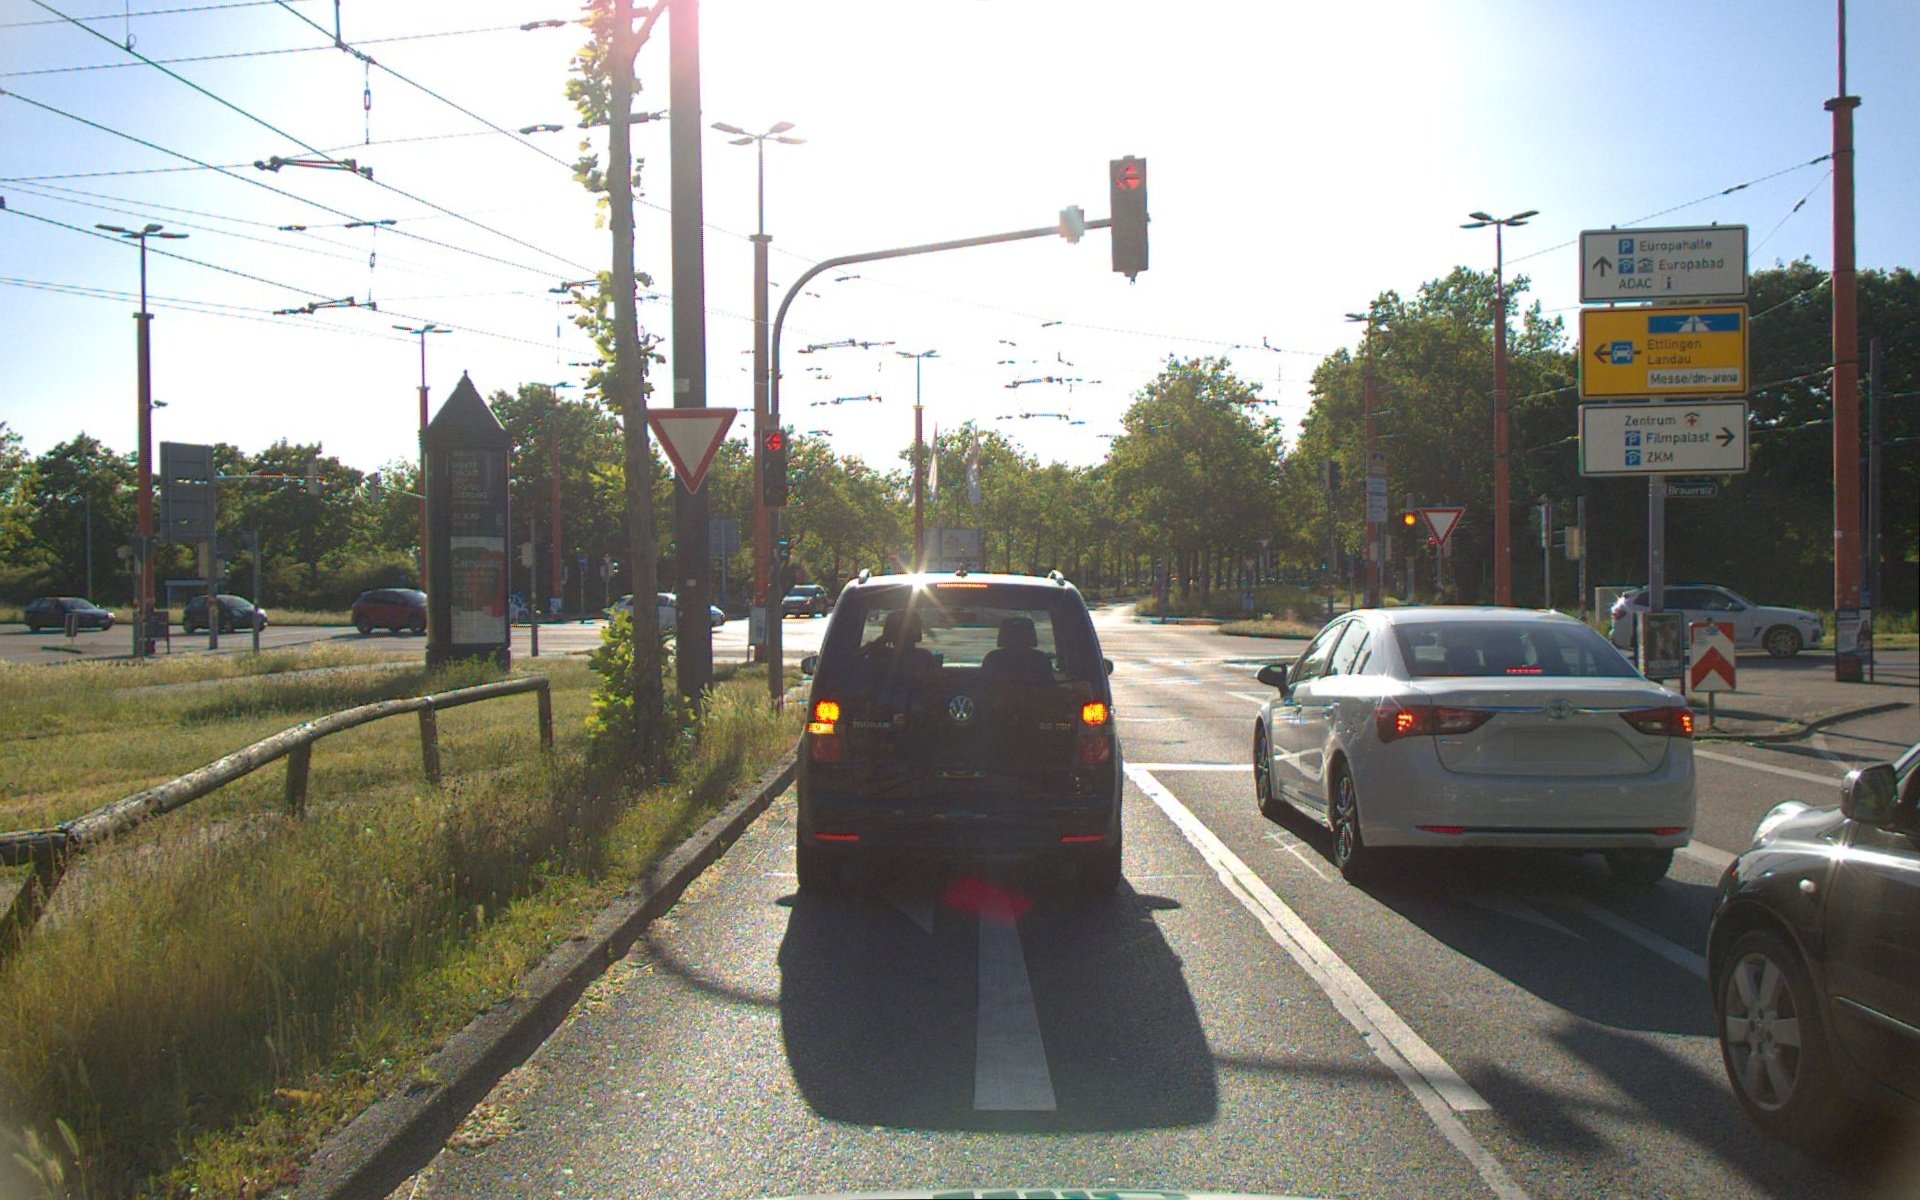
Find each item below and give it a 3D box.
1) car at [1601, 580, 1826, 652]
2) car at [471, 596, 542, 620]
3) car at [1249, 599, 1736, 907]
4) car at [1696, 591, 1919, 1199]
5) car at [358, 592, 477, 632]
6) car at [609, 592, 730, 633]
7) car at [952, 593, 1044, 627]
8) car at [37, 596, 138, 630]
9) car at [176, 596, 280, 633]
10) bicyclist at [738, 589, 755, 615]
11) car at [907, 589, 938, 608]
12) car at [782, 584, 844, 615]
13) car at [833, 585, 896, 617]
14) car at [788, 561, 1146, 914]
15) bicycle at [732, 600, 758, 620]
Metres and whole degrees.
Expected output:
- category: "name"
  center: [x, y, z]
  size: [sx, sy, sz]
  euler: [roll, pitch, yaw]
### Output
- category: "car"
  center: [17.763, 0.358, 39.033]
  size: [4.690, 1.626, 1.911]
  euler: [0, 0, 30]
- category: "car"
  center: [-25.818, 0.469, 94.180]
  size: [3.753, 1.333, 1.651]
  euler: [0, 0, -24]
- category: "car"
  center: [2.948, 0.741, 10.113]
  size: [1.679, 1.480, 4.144]
  euler: [0, 0, 0]
- category: "car"
  center: [3.127, 0.744, 3.514]
  size: [1.525, 1.532, 3.515]
  euler: [0, 0, -1]
- category: "car"
  center: [-20.924, 0.433, 63.745]
  size: [4.275, 1.489, 1.912]
  euler: [0, 0, 27]
- category: "car"
  center: [-10.838, 0.445, 61.814]
  size: [4.121, 1.489, 1.915]
  euler: [0, 0, 3]
- category: "car"
  center: [1.733, 0.439, 75.147]
  size: [1.881, 1.489, 4.194]
  euler: [0, 0, 44]
- category: "car"
  center: [-38.681, 0.569, 73.318]
  size: [4.143, 1.489, 1.913]
  euler: [0, 0, 26]
- category: "car"
  center: [-30.340, 0.595, 68.509]
  size: [3.965, 1.489, 1.912]
  euler: [0, 0, 28]
- category: "bicyclist"
  center: [-12.197, 0.092, 94.445]
  size: [0.678, 1.483, 0.875]
  euler: [0, 0, 17]
- category: "car"
  center: [-3.438, -0.132, 152.924]
  size: [1.951, 1.714, 4.833]
  euler: [0, 0, 11]
- category: "car"
  center: [-8.279, -0.044, 93.672]
  size: [1.951, 1.714, 4.832]
  euler: [0, 0, 15]
- category: "car"
  center: [-5.276, 0.025, 91.627]
  size: [1.951, 1.714, 4.831]
  euler: [0, 0, 17]
- category: "car"
  center: [0.007, 0.644, 9.869]
  size: [1.702, 1.670, 3.999]
  euler: [0, 0, -1]
- category: "bicycle"
  center: [-12.228, 0.567, 94.225]
  size: [0.719, 1.109, 1.962]
  euler: [0, 0, 18]
